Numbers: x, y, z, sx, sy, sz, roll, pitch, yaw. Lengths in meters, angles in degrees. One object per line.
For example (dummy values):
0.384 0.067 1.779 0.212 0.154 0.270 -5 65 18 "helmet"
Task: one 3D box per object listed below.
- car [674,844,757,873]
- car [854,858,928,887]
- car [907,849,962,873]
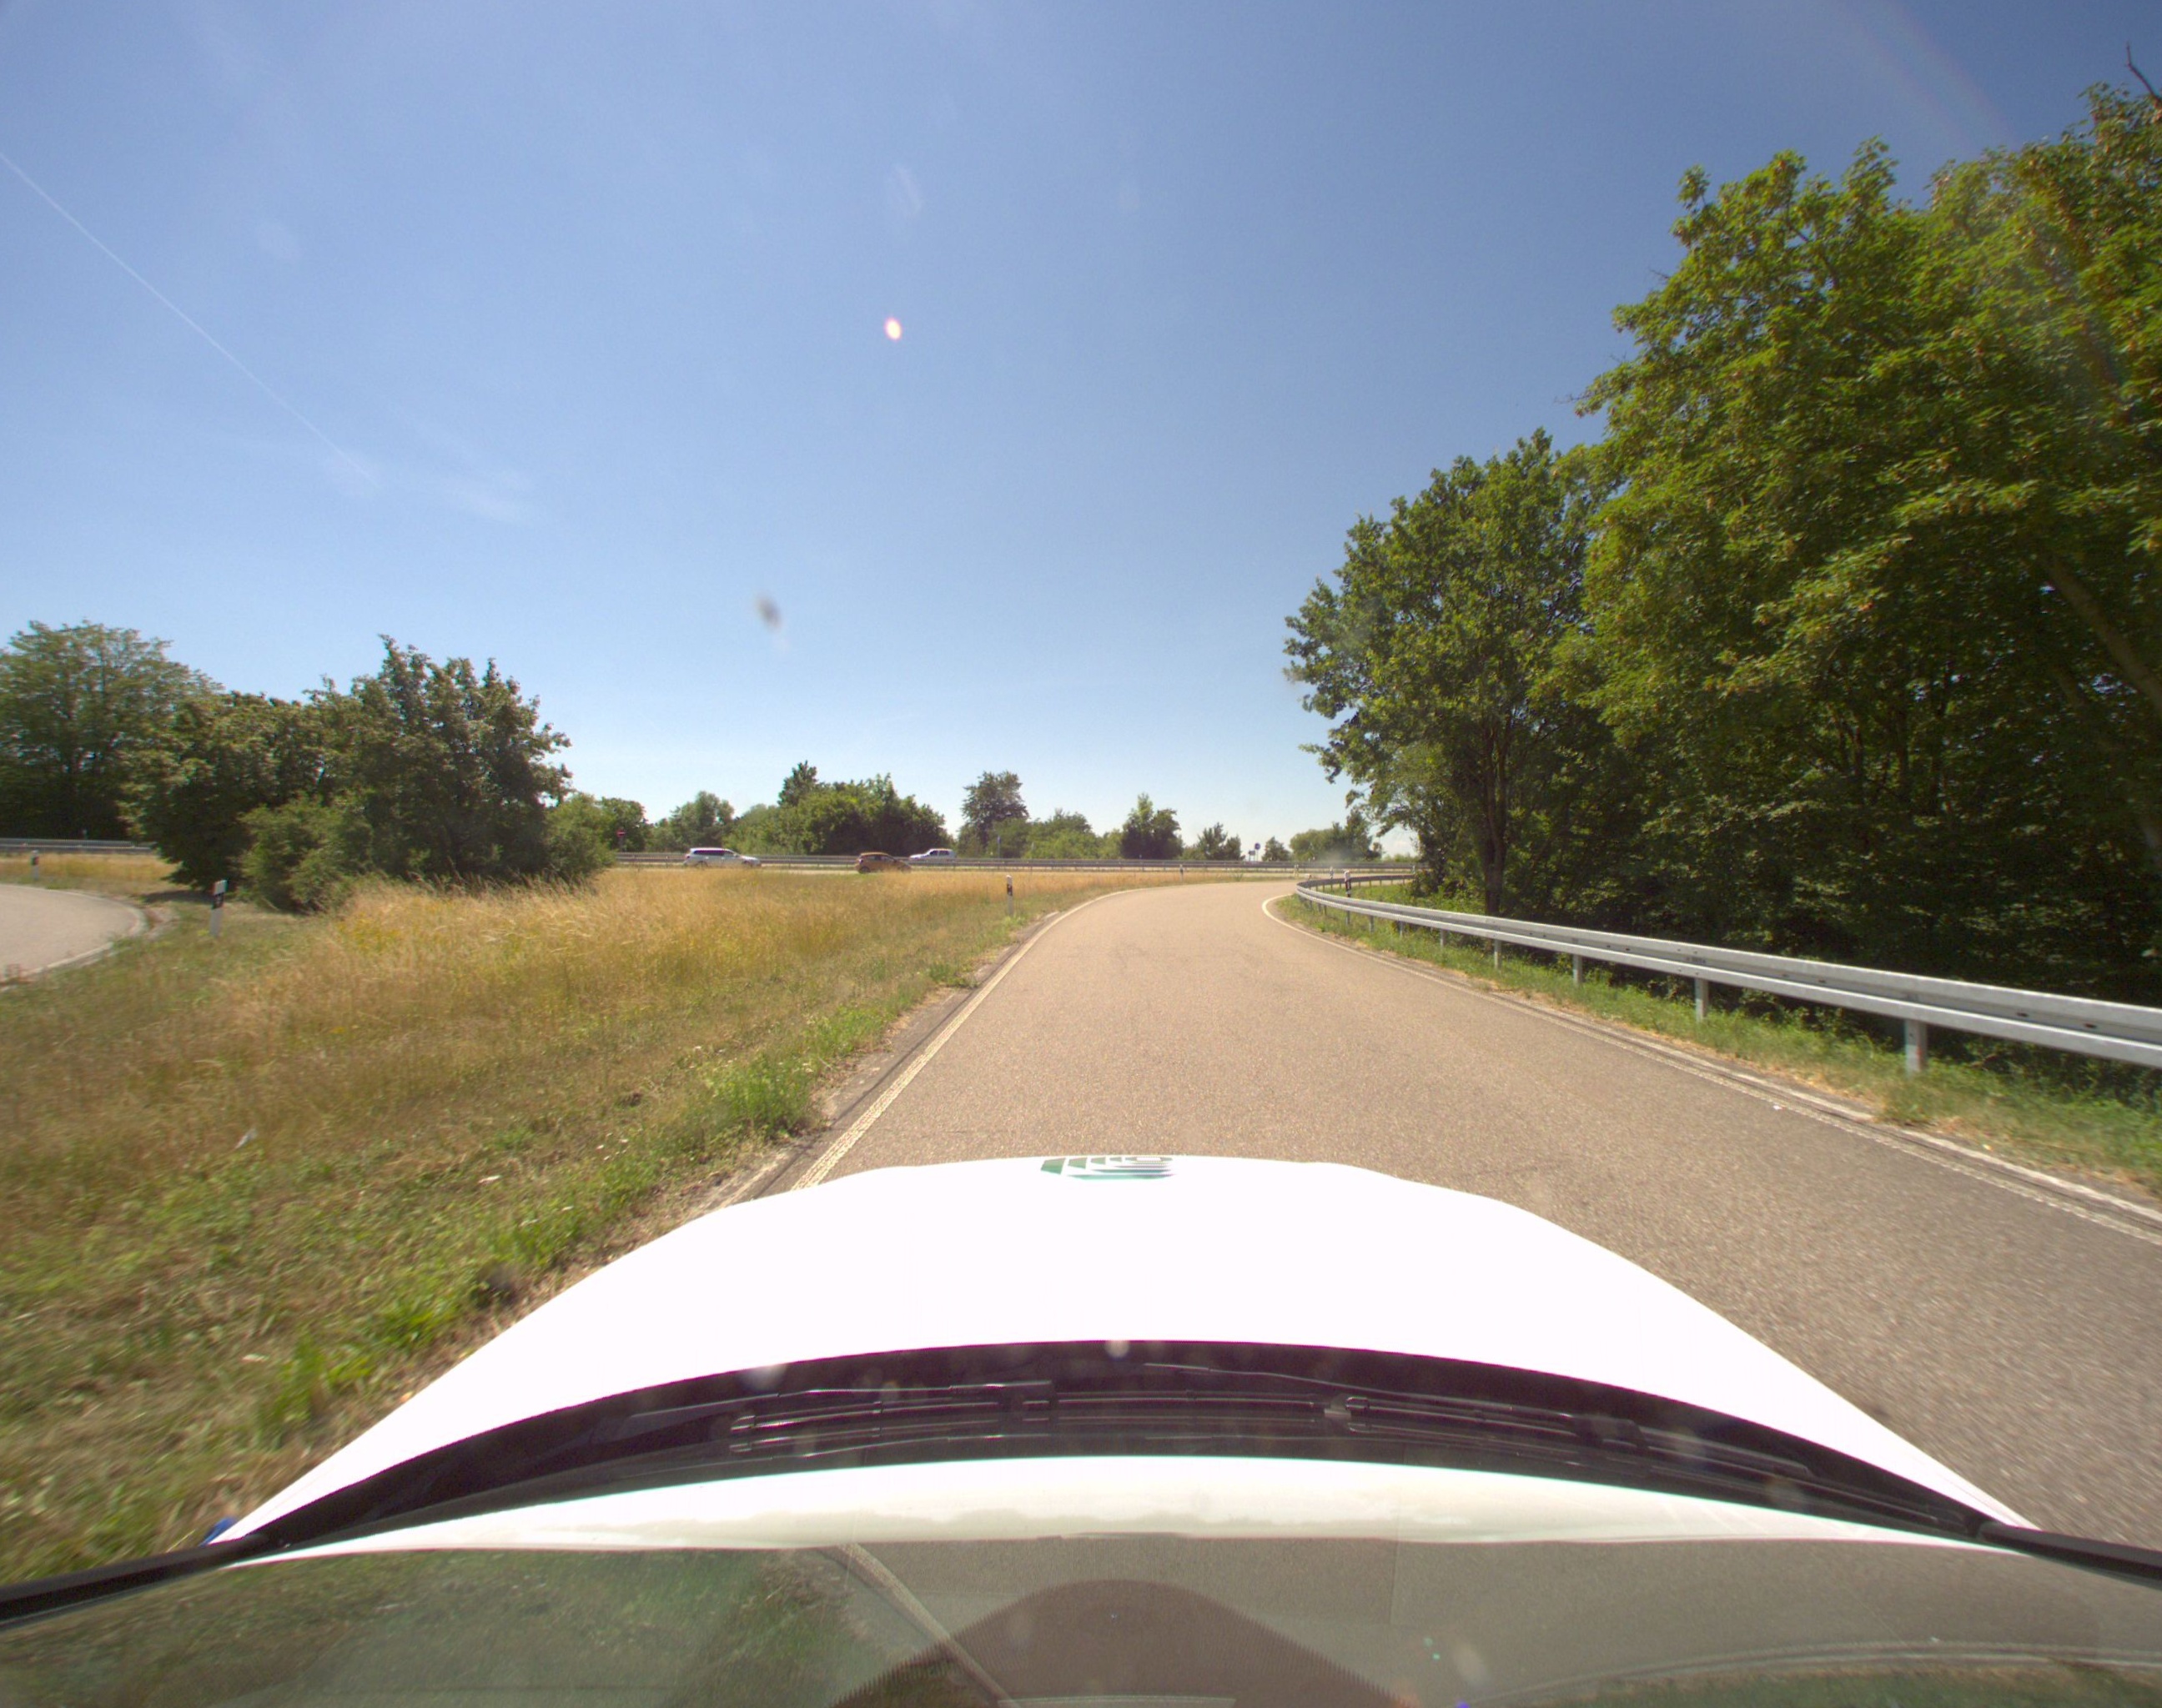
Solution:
-23.887 0.316 53.394 4.785 1.790 1.987 1 0 -20 "car"
-12.663 1.242 54.229 4.528 1.790 1.987 3 -2 -20 "car"
-12.412 0.599 69.167 4.230 1.790 1.984 3 -2 -23 "car"
